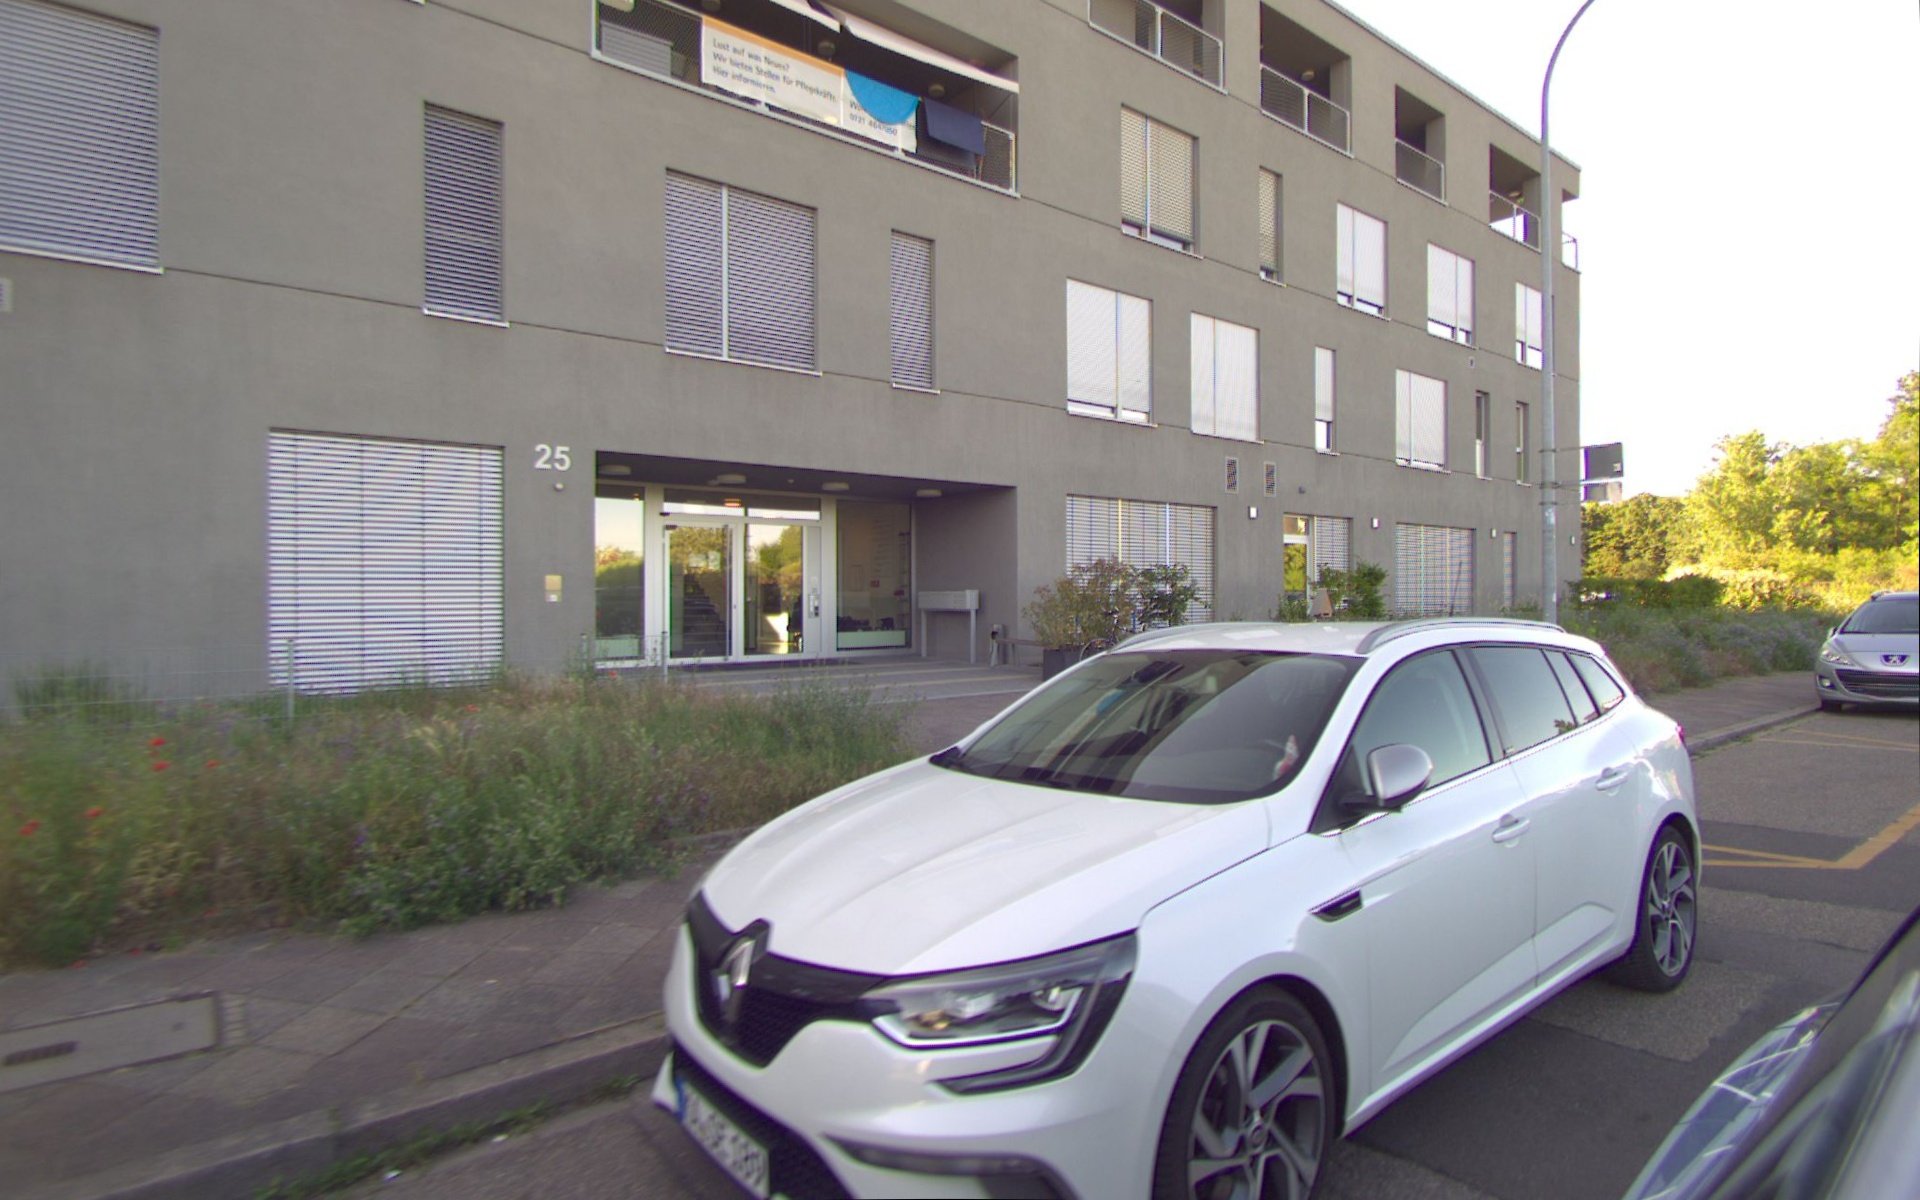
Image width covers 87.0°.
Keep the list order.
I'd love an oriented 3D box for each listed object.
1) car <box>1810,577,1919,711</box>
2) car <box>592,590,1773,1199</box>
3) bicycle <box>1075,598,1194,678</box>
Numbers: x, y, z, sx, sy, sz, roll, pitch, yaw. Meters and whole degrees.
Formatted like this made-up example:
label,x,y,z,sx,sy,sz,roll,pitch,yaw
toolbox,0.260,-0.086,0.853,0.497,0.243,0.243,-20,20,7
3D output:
label,x,y,z,sx,sy,sz,roll,pitch,yaw
car,12.623,0.482,13.027,4.079,1.546,1.711,-1,0,-37
car,1.207,0.729,3.727,4.502,1.447,1.749,-1,-1,-38
bicycle,2.533,0.523,14.608,1.807,1.075,0.554,-1,0,-34
